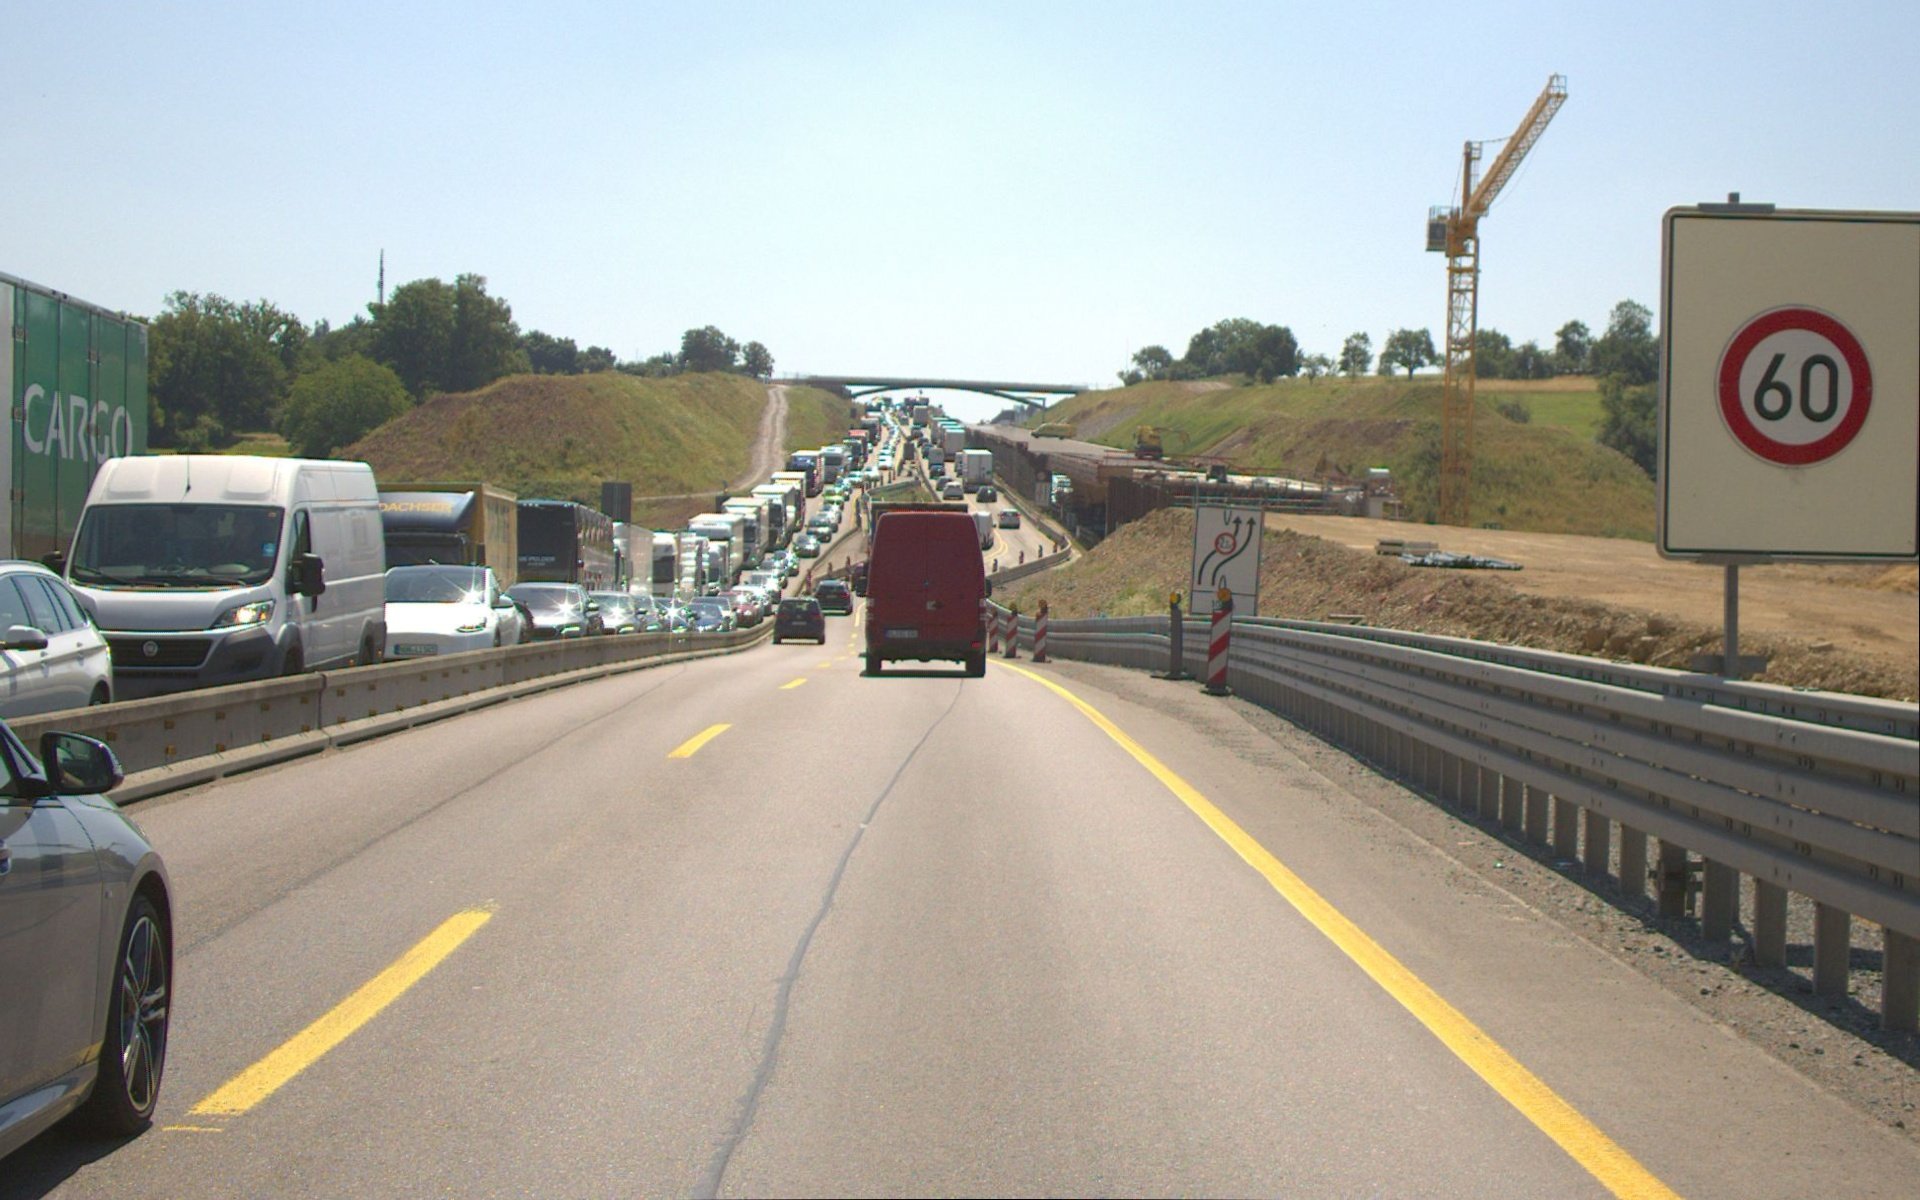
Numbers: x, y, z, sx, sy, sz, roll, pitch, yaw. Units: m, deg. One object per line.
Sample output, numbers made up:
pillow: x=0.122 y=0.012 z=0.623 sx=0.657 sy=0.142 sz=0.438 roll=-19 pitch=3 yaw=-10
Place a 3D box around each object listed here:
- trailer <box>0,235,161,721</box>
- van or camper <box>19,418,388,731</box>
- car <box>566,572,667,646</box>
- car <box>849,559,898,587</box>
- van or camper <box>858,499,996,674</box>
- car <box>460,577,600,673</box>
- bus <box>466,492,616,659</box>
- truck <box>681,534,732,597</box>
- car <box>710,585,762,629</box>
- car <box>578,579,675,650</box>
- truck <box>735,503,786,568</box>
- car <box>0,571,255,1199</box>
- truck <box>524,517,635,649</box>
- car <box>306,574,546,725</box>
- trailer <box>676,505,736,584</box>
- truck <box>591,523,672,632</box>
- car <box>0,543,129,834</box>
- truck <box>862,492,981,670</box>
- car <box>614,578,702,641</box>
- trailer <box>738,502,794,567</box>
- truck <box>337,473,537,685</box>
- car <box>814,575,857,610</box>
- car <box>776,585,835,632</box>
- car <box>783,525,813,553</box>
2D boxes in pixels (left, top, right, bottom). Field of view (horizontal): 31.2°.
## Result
trailer: x=-10.128 y=-1.108 z=31.200 sx=2.815 sy=4.415 sz=13.168 roll=0 pitch=0 yaw=-1
van or camper: x=-6.741 y=-0.282 z=31.449 sx=2.218 sy=2.503 sz=6.534 roll=2 pitch=1 yaw=-3
car: x=-7.291 y=0.175 z=73.376 sx=1.859 sy=1.489 sz=4.905 roll=-1 pitch=0 yaw=-3
car: x=-5.009 y=-1.573 z=200.110 sx=2.013 sy=1.539 sz=4.131 roll=2 pitch=1 yaw=10
van or camper: x=-0.587 y=-0.261 z=56.828 sx=2.029 sy=2.735 sz=4.516 roll=1 pitch=1 yaw=-3
car: x=-7.405 y=0.400 z=59.658 sx=1.882 sy=1.427 sz=5.125 roll=2 pitch=1 yaw=-2
bus: x=-11.594 y=-0.800 z=96.425 sx=2.739 sy=4.249 sz=14.478 roll=2 pitch=1 yaw=-2
truck: x=-13.055 y=-1.816 z=177.696 sx=2.433 sy=3.137 sz=7.025 roll=0 pitch=2 yaw=-3
car: x=-9.256 y=0.274 z=142.505 sx=1.993 sy=1.625 sz=4.759 roll=2 pitch=1 yaw=-2
car: x=-7.651 y=0.303 z=79.237 sx=1.838 sy=1.438 sz=4.930 roll=2 pitch=1 yaw=-2
truck: x=-13.956 y=-4.522 z=240.769 sx=3.052 sy=4.465 sz=5.980 roll=1 pitch=2 yaw=1
car: x=-2.967 y=0.696 z=7.423 sx=1.852 sy=1.447 sz=4.742 roll=1 pitch=1 yaw=1
truck: x=-12.457 y=-0.582 z=113.125 sx=3.097 sy=4.183 sz=6.702 roll=1 pitch=1 yaw=-2
car: x=-7.114 y=0.603 z=46.446 sx=2.371 sy=1.720 sz=5.781 roll=2 pitch=1 yaw=-1
trailer: x=-14.159 y=-3.112 z=192.544 sx=2.594 sy=4.242 sz=12.468 roll=1 pitch=1 yaw=-1
truck: x=-12.943 y=-0.892 z=135.894 sx=2.977 sy=4.170 sz=5.875 roll=1 pitch=0 yaw=-4
car: x=-6.310 y=0.432 z=20.256 sx=1.993 sy=1.493 sz=4.976 roll=2 pitch=1 yaw=-5
truck: x=-1.111 y=-0.573 z=94.423 sx=3.020 sy=4.677 sz=6.933 roll=-1 pitch=1 yaw=-2
car: x=-7.773 y=0.229 z=88.924 sx=1.918 sy=1.418 sz=5.091 roll=2 pitch=1 yaw=-2
trailer: x=-13.864 y=-4.711 z=246.448 sx=3.042 sy=4.536 sz=12.127 roll=1 pitch=1 yaw=1
truck: x=-11.034 y=-0.519 z=73.446 sx=2.802 sy=4.138 sz=10.080 roll=2 pitch=1 yaw=-1
car: x=-6.099 y=-0.375 z=168.047 sx=2.012 sy=1.539 sz=4.133 roll=2 pitch=1 yaw=-2
car: x=-5.451 y=0.285 z=121.452 sx=2.012 sy=1.539 sz=4.133 roll=1 pitch=1 yaw=-3
car: x=-11.132 y=-4.187 z=235.725 sx=1.993 sy=1.777 sz=4.001 roll=1 pitch=2 yaw=-3
